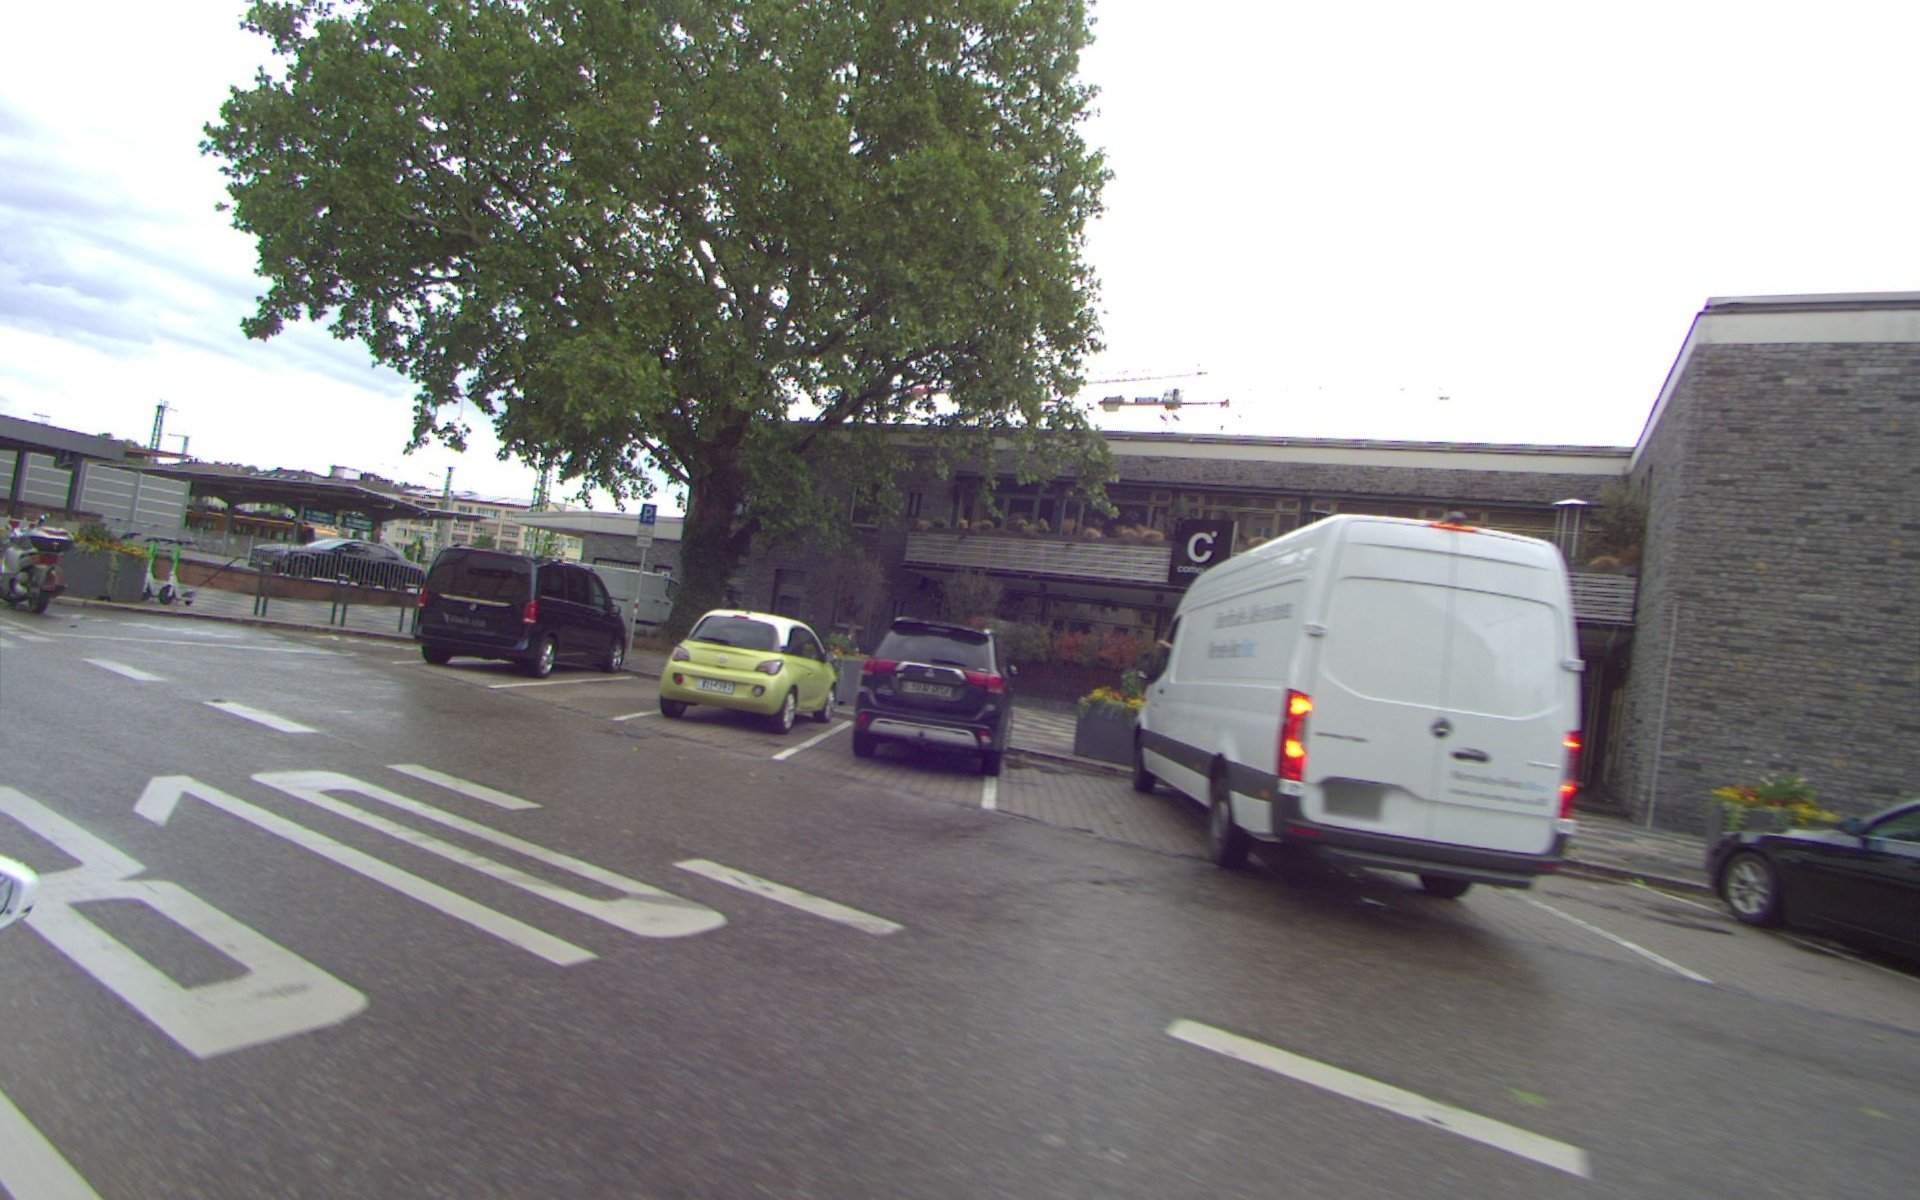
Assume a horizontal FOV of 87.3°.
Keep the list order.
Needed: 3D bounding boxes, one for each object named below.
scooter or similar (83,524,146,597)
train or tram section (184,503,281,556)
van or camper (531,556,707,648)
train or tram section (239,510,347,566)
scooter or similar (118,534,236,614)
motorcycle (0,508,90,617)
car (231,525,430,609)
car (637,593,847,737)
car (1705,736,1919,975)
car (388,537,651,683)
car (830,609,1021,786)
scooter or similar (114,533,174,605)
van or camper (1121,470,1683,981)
[{"bbox_3d":[-14.799,-0.674,17.626,0.410,1.167,1.255,10,-4,-27],"label":"scooter or similar"},{"bbox_3d":[-58.072,-5.654,80.266,8.980,3.322,2.659,6,-1,30],"label":"train or tram section"},{"bbox_3d":[-9.479,0.129,28.312,1.987,2.013,4.288,7,-2,30],"label":"van or camper"},{"bbox_3d":[-50.240,-4.707,75.674,9.360,3.322,2.659,6,-1,30],"label":"train or tram section"},{"bbox_3d":[-14.360,-0.482,18.451,1.639,1.167,1.068,7,-4,32],"label":"scooter or similar"},{"bbox_3d":[-13.388,-0.570,14.465,2.074,1.368,0.644,7,-1,32],"label":"motorcycle"},{"bbox_3d":[-19.433,-0.968,31.313,2.072,1.896,4.698,7,-2,27],"label":"car"},{"bbox_3d":[-2.898,0.870,14.195,1.729,1.542,3.594,8,-2,5],"label":"car"},{"bbox_3d":[7.793,2.030,6.954,1.884,1.488,4.473,8,-2,1],"label":"car"},{"bbox_3d":[-7.230,0.232,17.213,2.069,1.896,4.703,7,-2,2],"label":"car"},{"bbox_3d":[-0.294,1.115,12.845,1.849,1.653,4.240,7,-2,2],"label":"car"},{"bbox_3d":[-14.401,-0.539,17.784,0.410,1.167,1.255,10,-4,-27],"label":"scooter or similar"},{"bbox_3d":[3.275,0.888,9.542,2.238,2.903,6.534,7,-2,1],"label":"van or camper"}]
